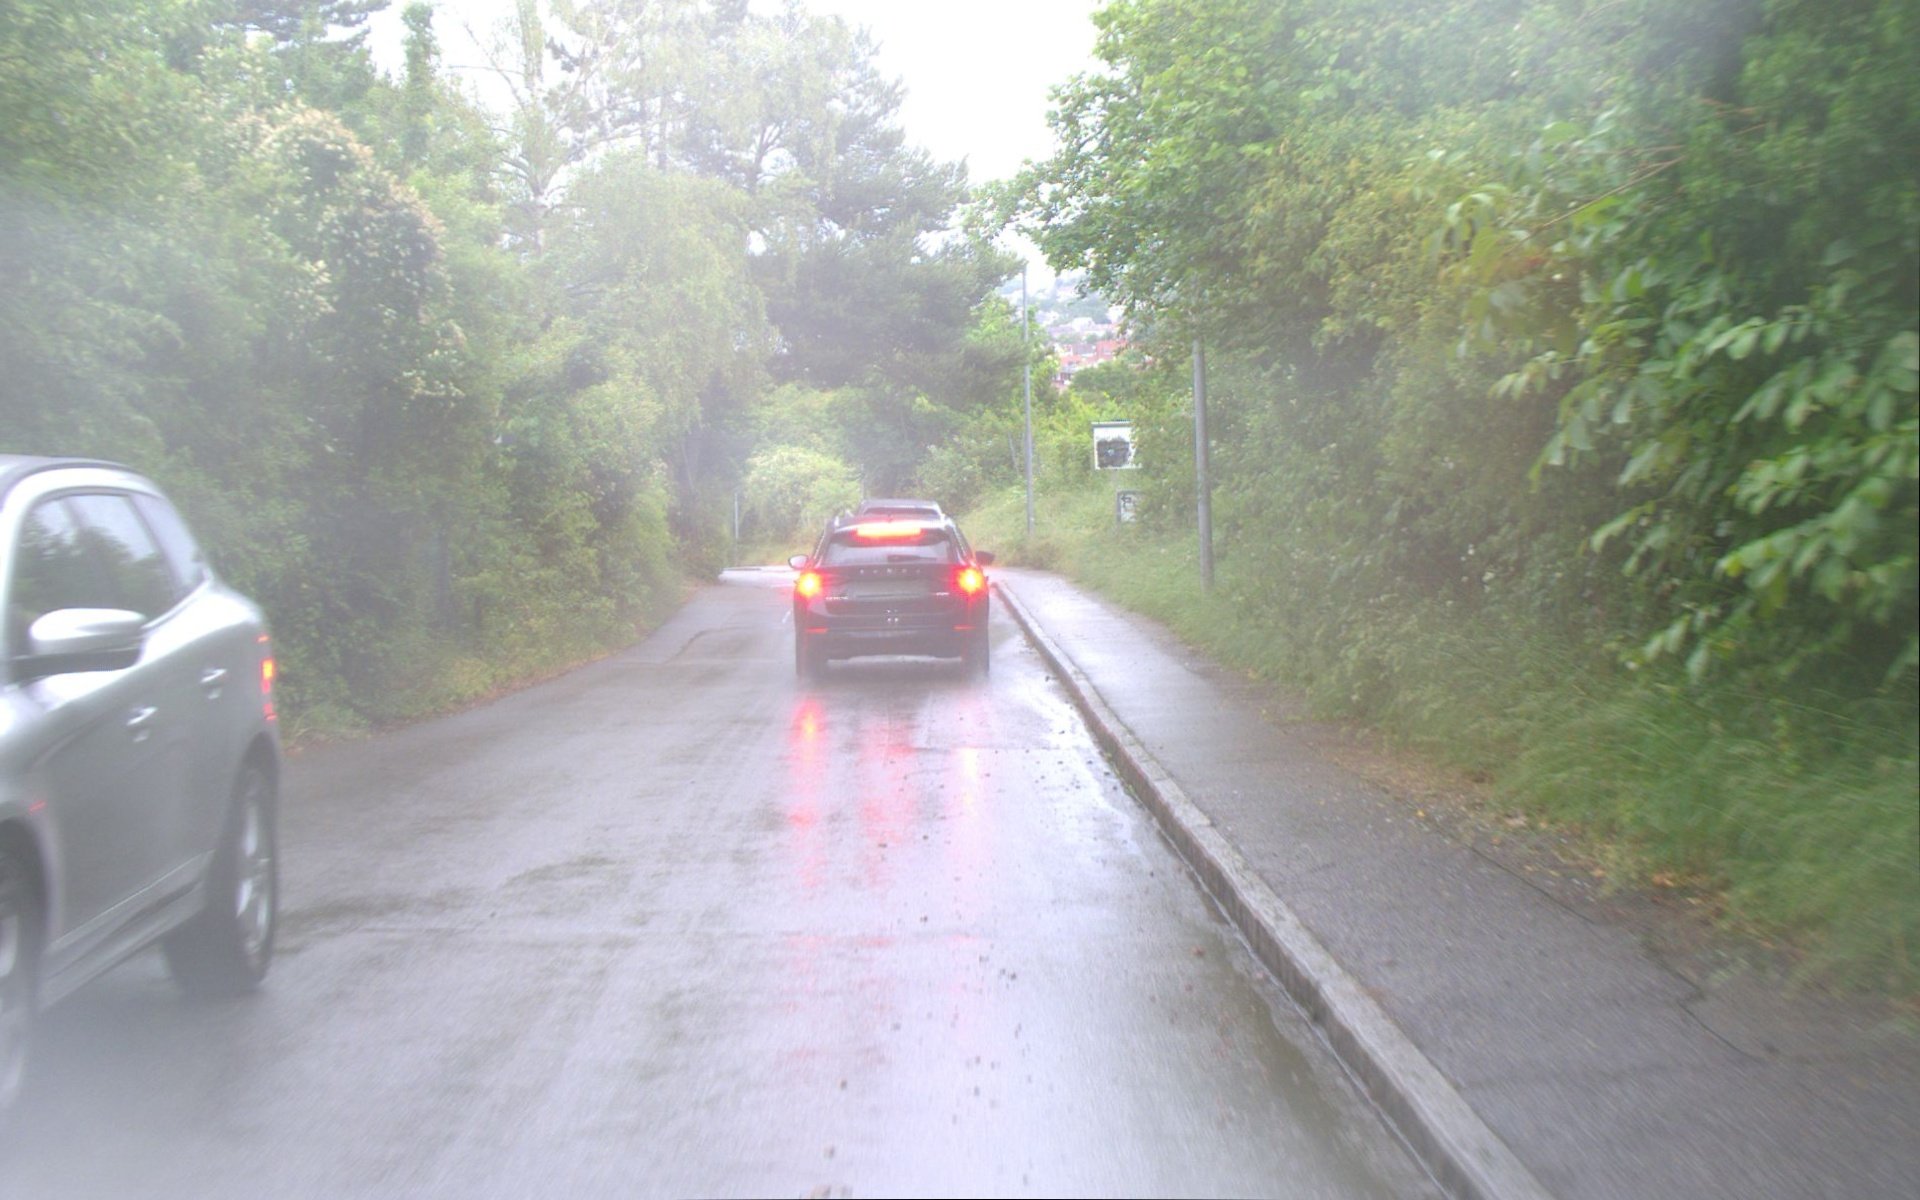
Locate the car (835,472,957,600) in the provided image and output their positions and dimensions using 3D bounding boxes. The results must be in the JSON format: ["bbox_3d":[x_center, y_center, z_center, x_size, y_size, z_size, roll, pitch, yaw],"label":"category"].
[{"bbox_3d":[-1.035,-0.984,54.991,1.863,1.737,3.999,0,-3,-1],"label":"car"}]

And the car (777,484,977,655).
[{"bbox_3d":[-0.743,-0.301,31.968,1.699,1.445,4.000,-2,1,-1],"label":"car"}]

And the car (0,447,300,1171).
[{"bbox_3d":[-3.170,0.383,9.281,2.048,1.595,4.230,1,2,-1],"label":"car"}]
